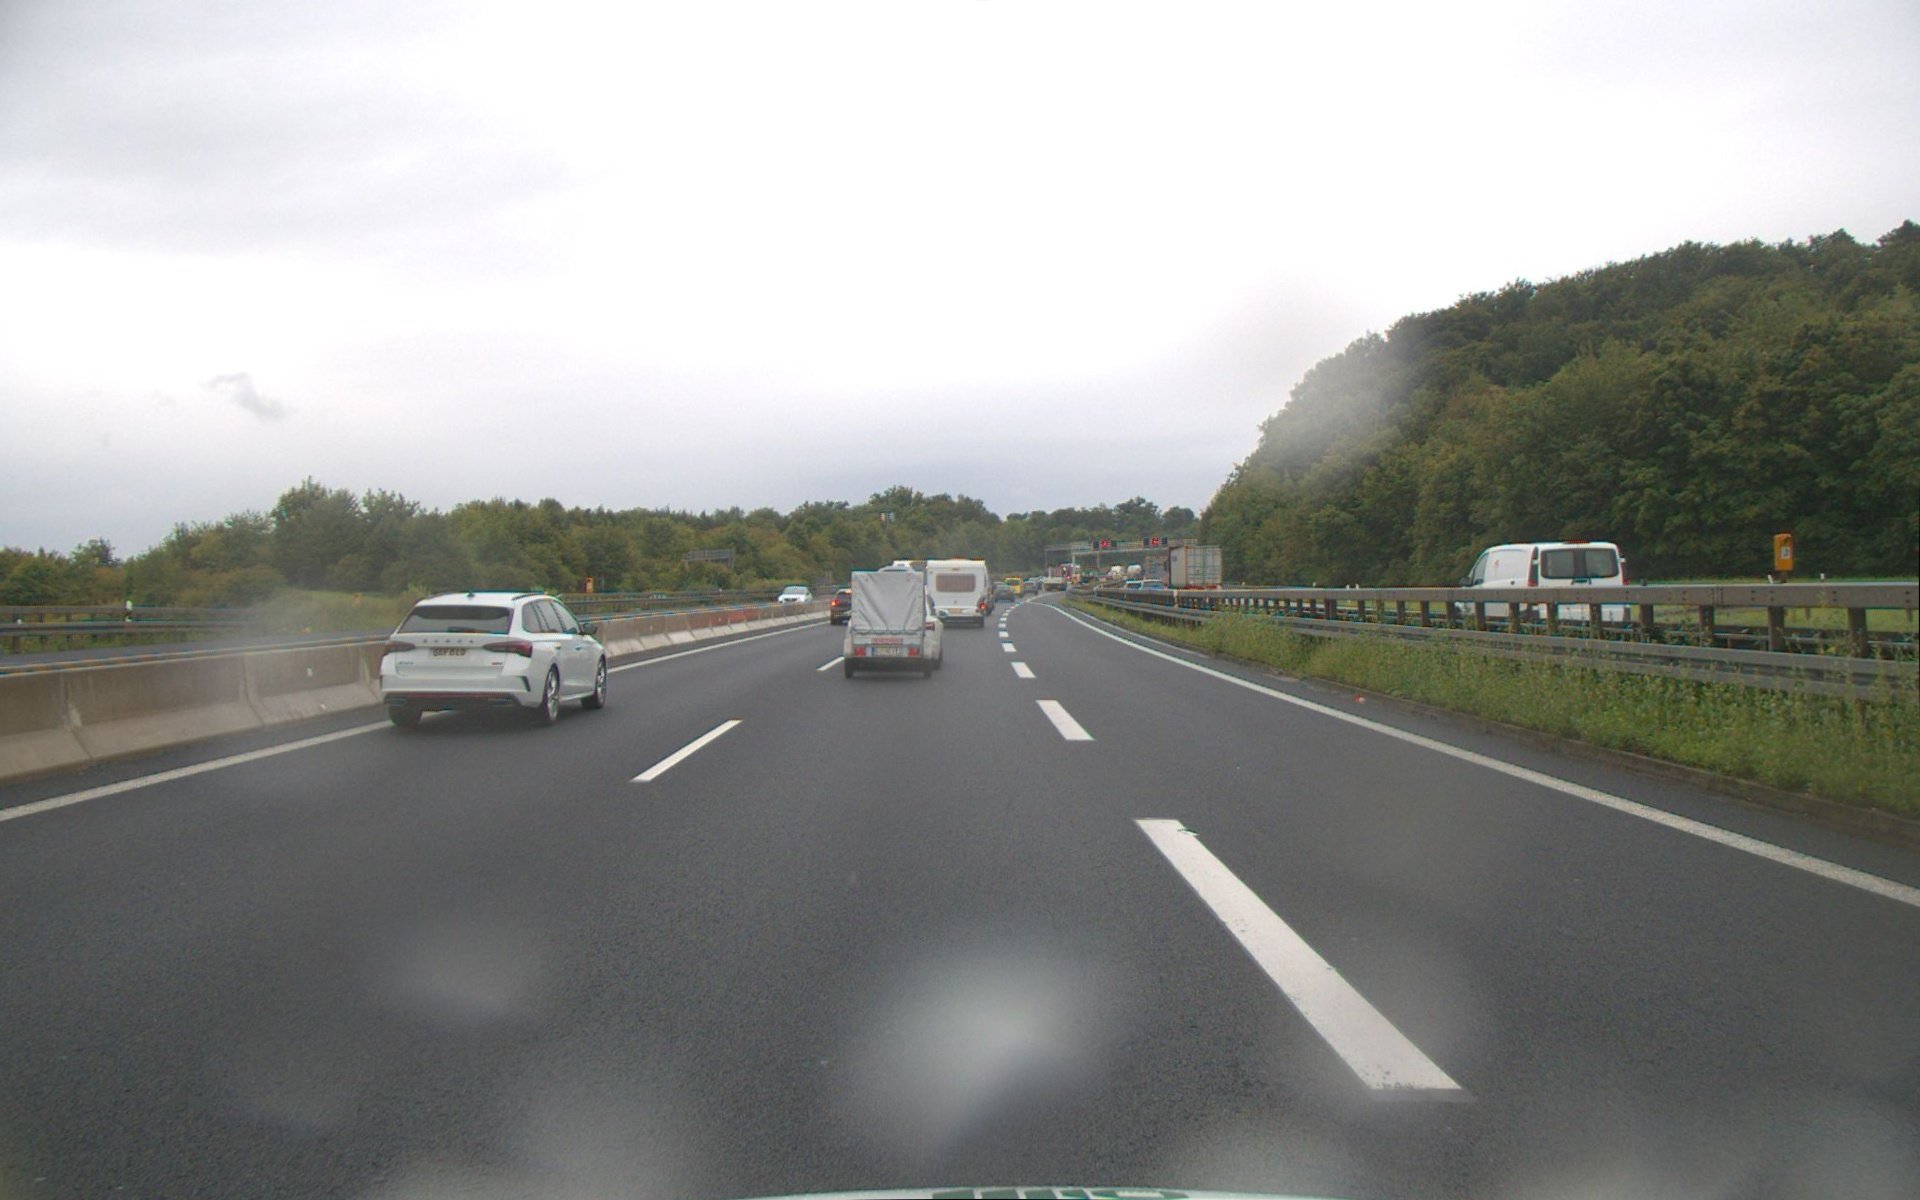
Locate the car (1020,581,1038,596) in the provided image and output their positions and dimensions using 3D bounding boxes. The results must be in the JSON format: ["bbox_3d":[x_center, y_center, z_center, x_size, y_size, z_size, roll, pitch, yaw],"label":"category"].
[{"bbox_3d":[8.177,-1.360,194.834,1.995,1.712,4.002,-1,0,3],"label":"car"}]

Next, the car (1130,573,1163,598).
[{"bbox_3d":[11.633,-0.887,103.307,1.632,1.407,4.126,-3,0,1],"label":"car"}]

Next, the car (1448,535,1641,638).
[{"bbox_3d":[10.593,-0.221,30.360,1.870,1.723,4.718,-1,0,0],"label":"car"}]

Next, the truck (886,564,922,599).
[{"bbox_3d":[-6.861,-2.251,204.867,2.728,4.164,12.307,-1,0,6],"label":"truck"}]

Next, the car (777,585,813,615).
[{"bbox_3d":[-10.922,0.017,109.665,1.701,1.953,4.318,-1,0,3],"label":"car"}]

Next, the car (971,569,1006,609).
[{"bbox_3d":[1.515,-0.565,89.579,1.642,2.103,3.998,-1,0,-3],"label":"car"}]

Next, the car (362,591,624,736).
[{"bbox_3d":[-5.321,0.660,19.513,1.781,1.481,4.777,-1,0,-1],"label":"car"}]

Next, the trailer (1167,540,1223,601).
[{"bbox_3d":[16.091,-1.915,114.070,2.550,3.962,12.494,-1,0,2],"label":"trailer"}]

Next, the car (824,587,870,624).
[{"bbox_3d":[-4.706,0.234,69.253,1.641,1.481,4.000,-1,0,0],"label":"car"}]

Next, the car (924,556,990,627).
[{"bbox_3d":[-0.089,-0.312,65.245,2.456,2.630,5.700,-1,0,1],"label":"car"}]

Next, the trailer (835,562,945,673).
[{"bbox_3d":[-1.188,0.299,29.649,1.641,1.844,4.001,-1,0,2],"label":"trailer"}]

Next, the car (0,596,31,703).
[{"bbox_3d":[-15.910,0.781,24.388,1.853,1.679,4.602,-1,0,-1],"label":"car"}]

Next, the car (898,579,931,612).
[{"bbox_3d":[-2.817,-0.277,102.890,1.953,1.952,3.999,-1,0,-1],"label":"car"}]

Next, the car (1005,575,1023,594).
[{"bbox_3d":[5.644,-1.593,172.093,1.640,1.844,4.002,-1,0,5],"label":"car"}]

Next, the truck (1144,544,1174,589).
[{"bbox_3d":[22.319,-3.623,185.569,3.147,4.748,13.042,-1,0,7],"label":"truck"}]

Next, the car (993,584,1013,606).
[{"bbox_3d":[3.740,-0.442,143.478,1.641,1.844,4.001,-1,0,2],"label":"car"}]

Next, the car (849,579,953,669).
[{"bbox_3d":[-1.102,0.450,33.161,1.781,1.644,4.778,-1,0,1],"label":"car"}]

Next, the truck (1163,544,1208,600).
[{"bbox_3d":[16.388,-1.985,120.541,2.561,3.952,6.394,-1,0,2],"label":"truck"}]

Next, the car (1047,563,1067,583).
[{"bbox_3d":[13.548,-3.776,230.732,2.462,2.620,5.316,-1,0,7],"label":"car"}]
